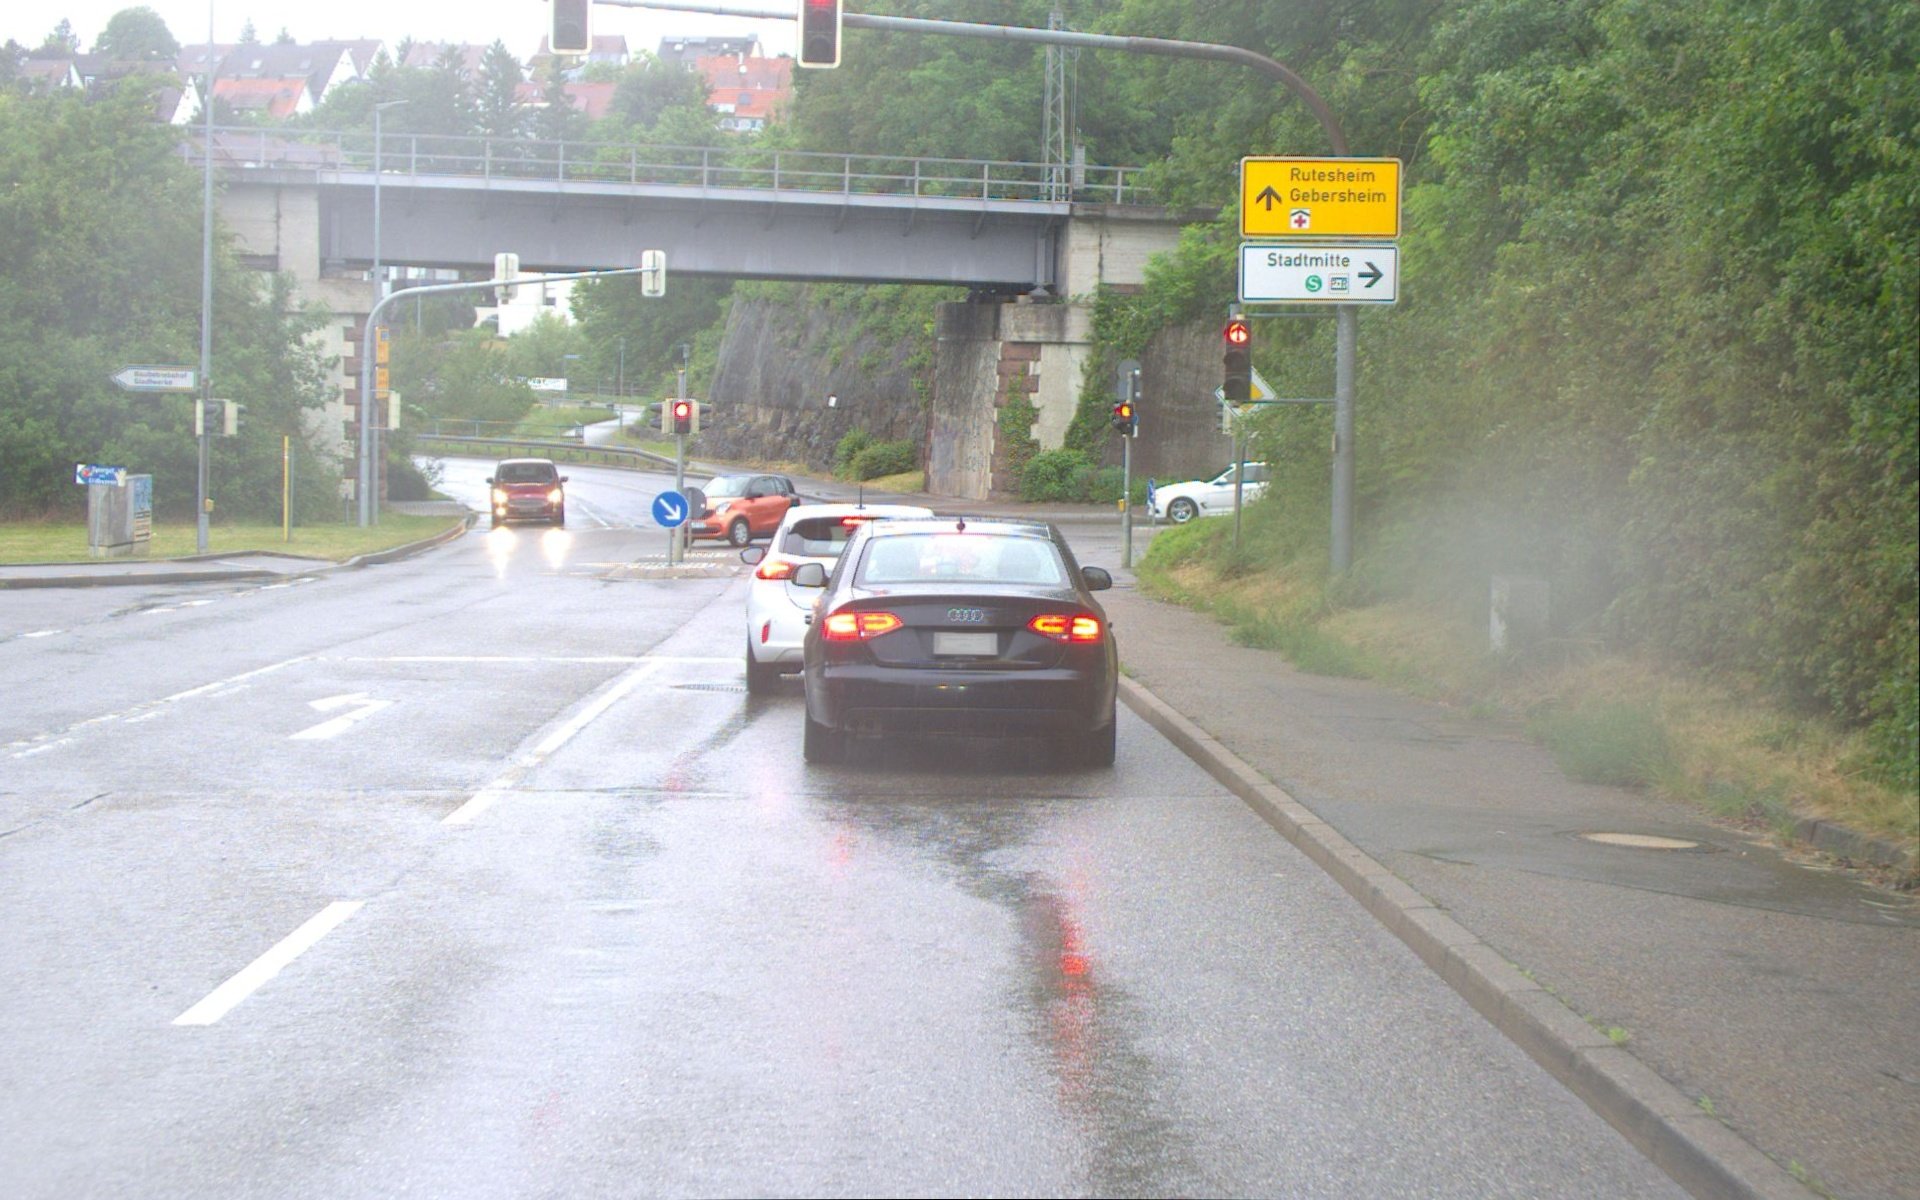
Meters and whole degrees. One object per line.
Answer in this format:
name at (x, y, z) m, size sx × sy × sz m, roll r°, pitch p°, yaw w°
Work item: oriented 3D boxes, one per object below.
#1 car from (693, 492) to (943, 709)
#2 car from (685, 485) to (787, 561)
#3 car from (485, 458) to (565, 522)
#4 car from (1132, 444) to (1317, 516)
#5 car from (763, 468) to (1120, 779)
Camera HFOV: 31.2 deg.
car at (-1.076, -0.022, 27.199) m, size 1.823 × 1.579 × 4.000 m, roll 0°, pitch 1°, yaw -1°
car at (-4.768, -1.632, 73.705) m, size 1.993 × 1.579 × 4.000 m, roll 0°, pitch 1°, yaw -1°
car at (-11.349, -2.863, 89.491) m, size 1.993 × 1.622 × 4.001 m, roll -1°, pitch 2°, yaw -8°
car at (6.561, -2.963, 84.975) m, size 4.467 × 1.736 × 1.810 m, roll 0°, pitch 1°, yaw 7°
car at (-0.132, 0.065, 20.478) m, size 1.870 × 1.611 × 4.001 m, roll 2°, pitch 2°, yaw -1°
